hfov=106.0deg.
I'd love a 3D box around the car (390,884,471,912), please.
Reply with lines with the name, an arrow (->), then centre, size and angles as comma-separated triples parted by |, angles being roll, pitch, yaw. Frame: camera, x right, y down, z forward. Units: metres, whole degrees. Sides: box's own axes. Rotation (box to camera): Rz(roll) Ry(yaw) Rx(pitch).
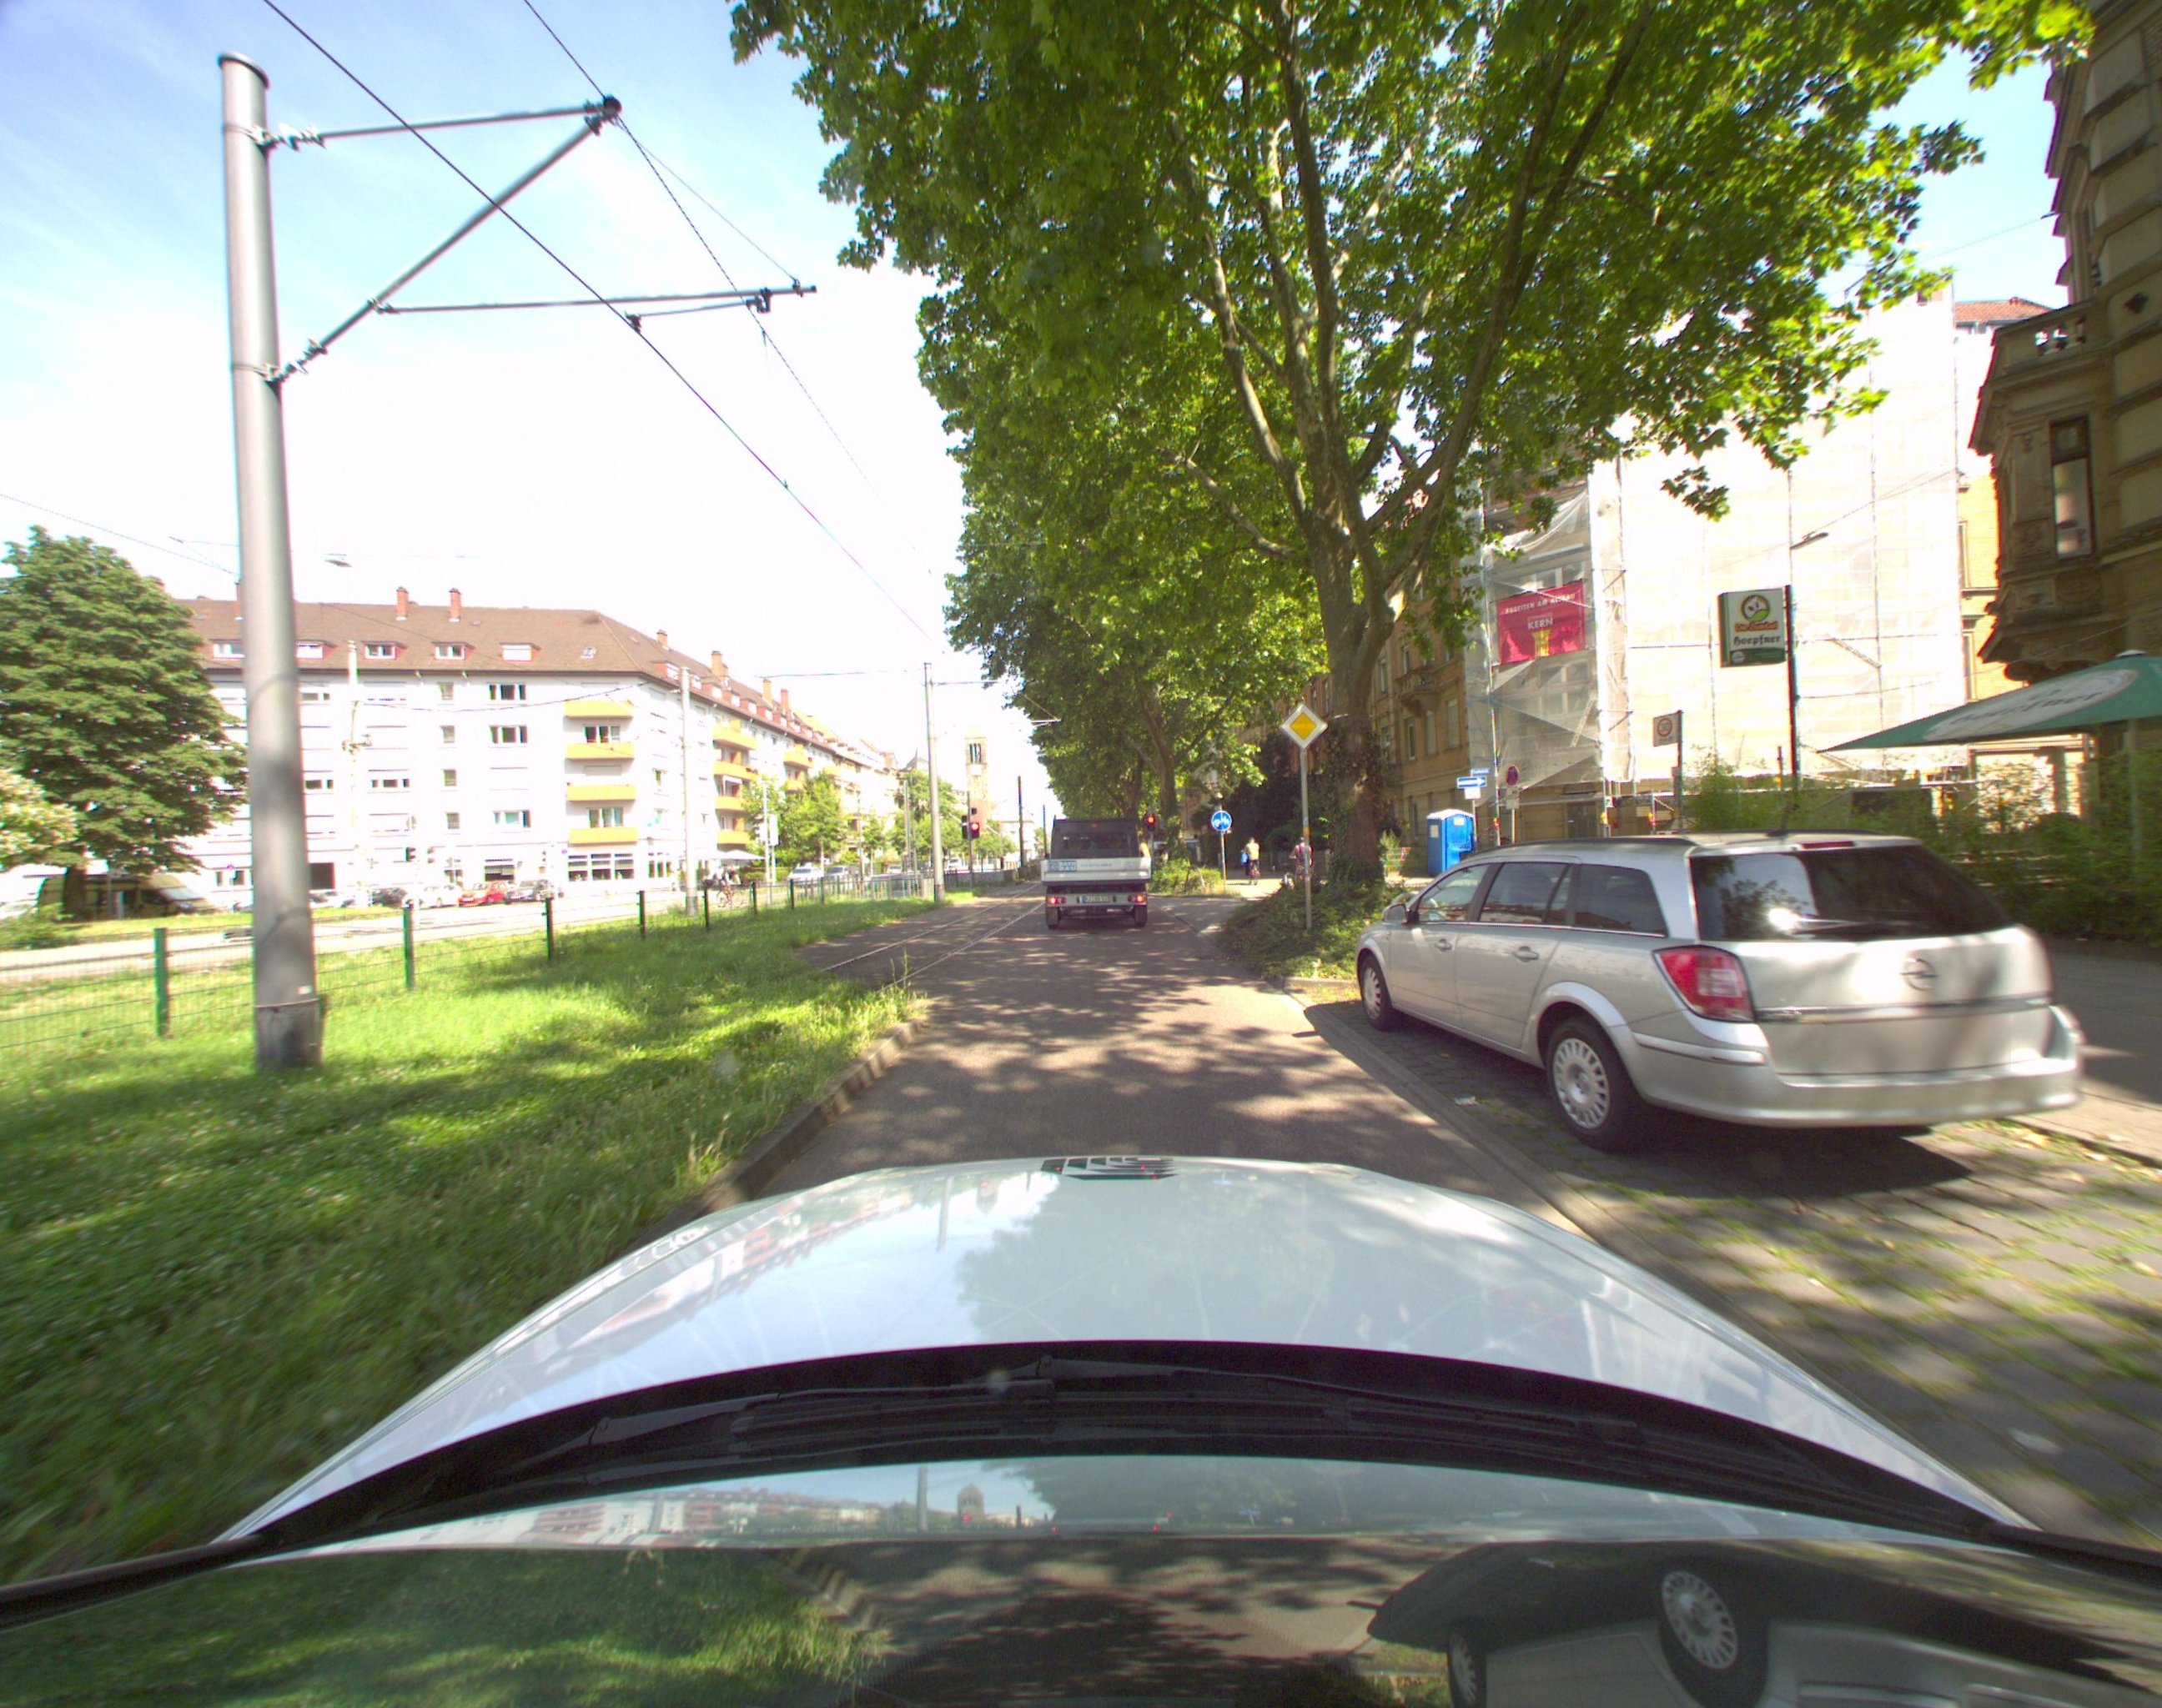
car -> -39.632, 2.665, 49.737 | 1.930, 1.406, 4.156 | -3, 0, -7

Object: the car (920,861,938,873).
car -> -21.208, 1.817, 113.781 | 1.765, 1.498, 3.998 | -2, 0, -1

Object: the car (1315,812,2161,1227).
car -> 3.245, 0.638, 5.426 | 1.829, 1.508, 4.487 | -3, 0, -3

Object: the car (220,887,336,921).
car -> -40.896, 2.533, 41.573 | 3.750, 1.406, 1.823 | -3, 0, -17

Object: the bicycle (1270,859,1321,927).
bicycle -> 3.860, 0.667, 14.574 | 0.417, 1.105, 1.627 | -3, 0, 31

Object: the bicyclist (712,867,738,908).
bicyclist -> -14.396, 1.350, 32.944 | 0.618, 1.623, 0.697 | -3, 0, 15

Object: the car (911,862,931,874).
car -> -20.854, 1.781, 106.100 | 1.765, 1.498, 3.998 | -2, 0, -1

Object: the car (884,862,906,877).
car -> -21.125, 1.755, 92.560 | 1.768, 1.498, 3.992 | -2, 0, -5

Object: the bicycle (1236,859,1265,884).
bicycle -> 6.360, 0.641, 30.633 | 0.672, 0.881, 2.164 | -3, 0, 2

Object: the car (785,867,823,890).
car -> -21.151, 1.854, 62.359 | 1.768, 1.498, 3.992 | -4, 0, -5

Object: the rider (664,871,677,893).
rider -> -27.566, 1.856, 54.746 | 0.624, 1.423, 0.587 | -2, 0, -17

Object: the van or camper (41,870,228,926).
van or camper -> -46.663, 2.123, 40.322 | 5.763, 2.329, 2.235 | -2, 0, -13

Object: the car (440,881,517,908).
car -> -36.853, 2.464, 49.973 | 1.930, 1.406, 4.156 | -3, 0, -7

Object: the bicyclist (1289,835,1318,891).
bicyclist -> 6.487, 0.251, 23.720 | 0.635, 1.573, 0.580 | -2, 0, 1

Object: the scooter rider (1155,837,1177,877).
scooter rider -> 4.015, 0.157, 38.544 | 0.660, 1.867, 0.668 | -3, 0, 44

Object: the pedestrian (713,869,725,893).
pedestrian -> -24.704, 1.851, 55.652 | 0.691, 1.572, 0.542 | -2, 0, -24

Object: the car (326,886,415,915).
car -> -42.158, 2.749, 48.473 | 1.930, 1.406, 4.156 | -2, 0, -7

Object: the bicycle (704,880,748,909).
bicycle -> -14.353, 1.622, 33.011 | 0.527, 1.049, 1.933 | -3, 0, 14

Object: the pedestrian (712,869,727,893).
pedestrian -> -24.970, 1.868, 56.211 | 0.861, 1.572, 0.685 | -2, 0, -24

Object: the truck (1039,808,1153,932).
truck -> 0.330, 0.310, 17.573 | 2.130, 2.319, 4.402 | -1, 0, 1

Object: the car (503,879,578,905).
car -> -33.509, 2.320, 50.626 | 1.831, 1.376, 4.634 | -3, 0, -5

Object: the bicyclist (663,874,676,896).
bicyclist -> -27.370, 2.087, 54.156 | 0.624, 1.423, 0.587 | -2, 0, -17

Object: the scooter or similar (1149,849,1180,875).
scooter or similar -> 3.968, 0.378, 38.601 | 1.254, 1.204, 0.661 | -3, 0, 44

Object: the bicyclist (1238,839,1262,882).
bicyclist -> 6.339, 0.224, 30.515 | 0.678, 1.563, 0.777 | -3, 0, 1

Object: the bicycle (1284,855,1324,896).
bicycle -> 6.491, 0.597, 23.776 | 0.563, 1.112, 2.311 | -3, 0, 2

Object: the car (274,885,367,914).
car -> -44.935, 2.649, 48.256 | 1.930, 1.406, 4.156 | -2, 0, -7

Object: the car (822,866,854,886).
car -> -21.136, 1.879, 70.939 | 1.768, 1.498, 3.992 | -4, 0, -5

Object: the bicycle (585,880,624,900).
bicycle -> -30.479, 2.265, 52.162 | 0.909, 1.137, 2.805 | -2, 0, -3
